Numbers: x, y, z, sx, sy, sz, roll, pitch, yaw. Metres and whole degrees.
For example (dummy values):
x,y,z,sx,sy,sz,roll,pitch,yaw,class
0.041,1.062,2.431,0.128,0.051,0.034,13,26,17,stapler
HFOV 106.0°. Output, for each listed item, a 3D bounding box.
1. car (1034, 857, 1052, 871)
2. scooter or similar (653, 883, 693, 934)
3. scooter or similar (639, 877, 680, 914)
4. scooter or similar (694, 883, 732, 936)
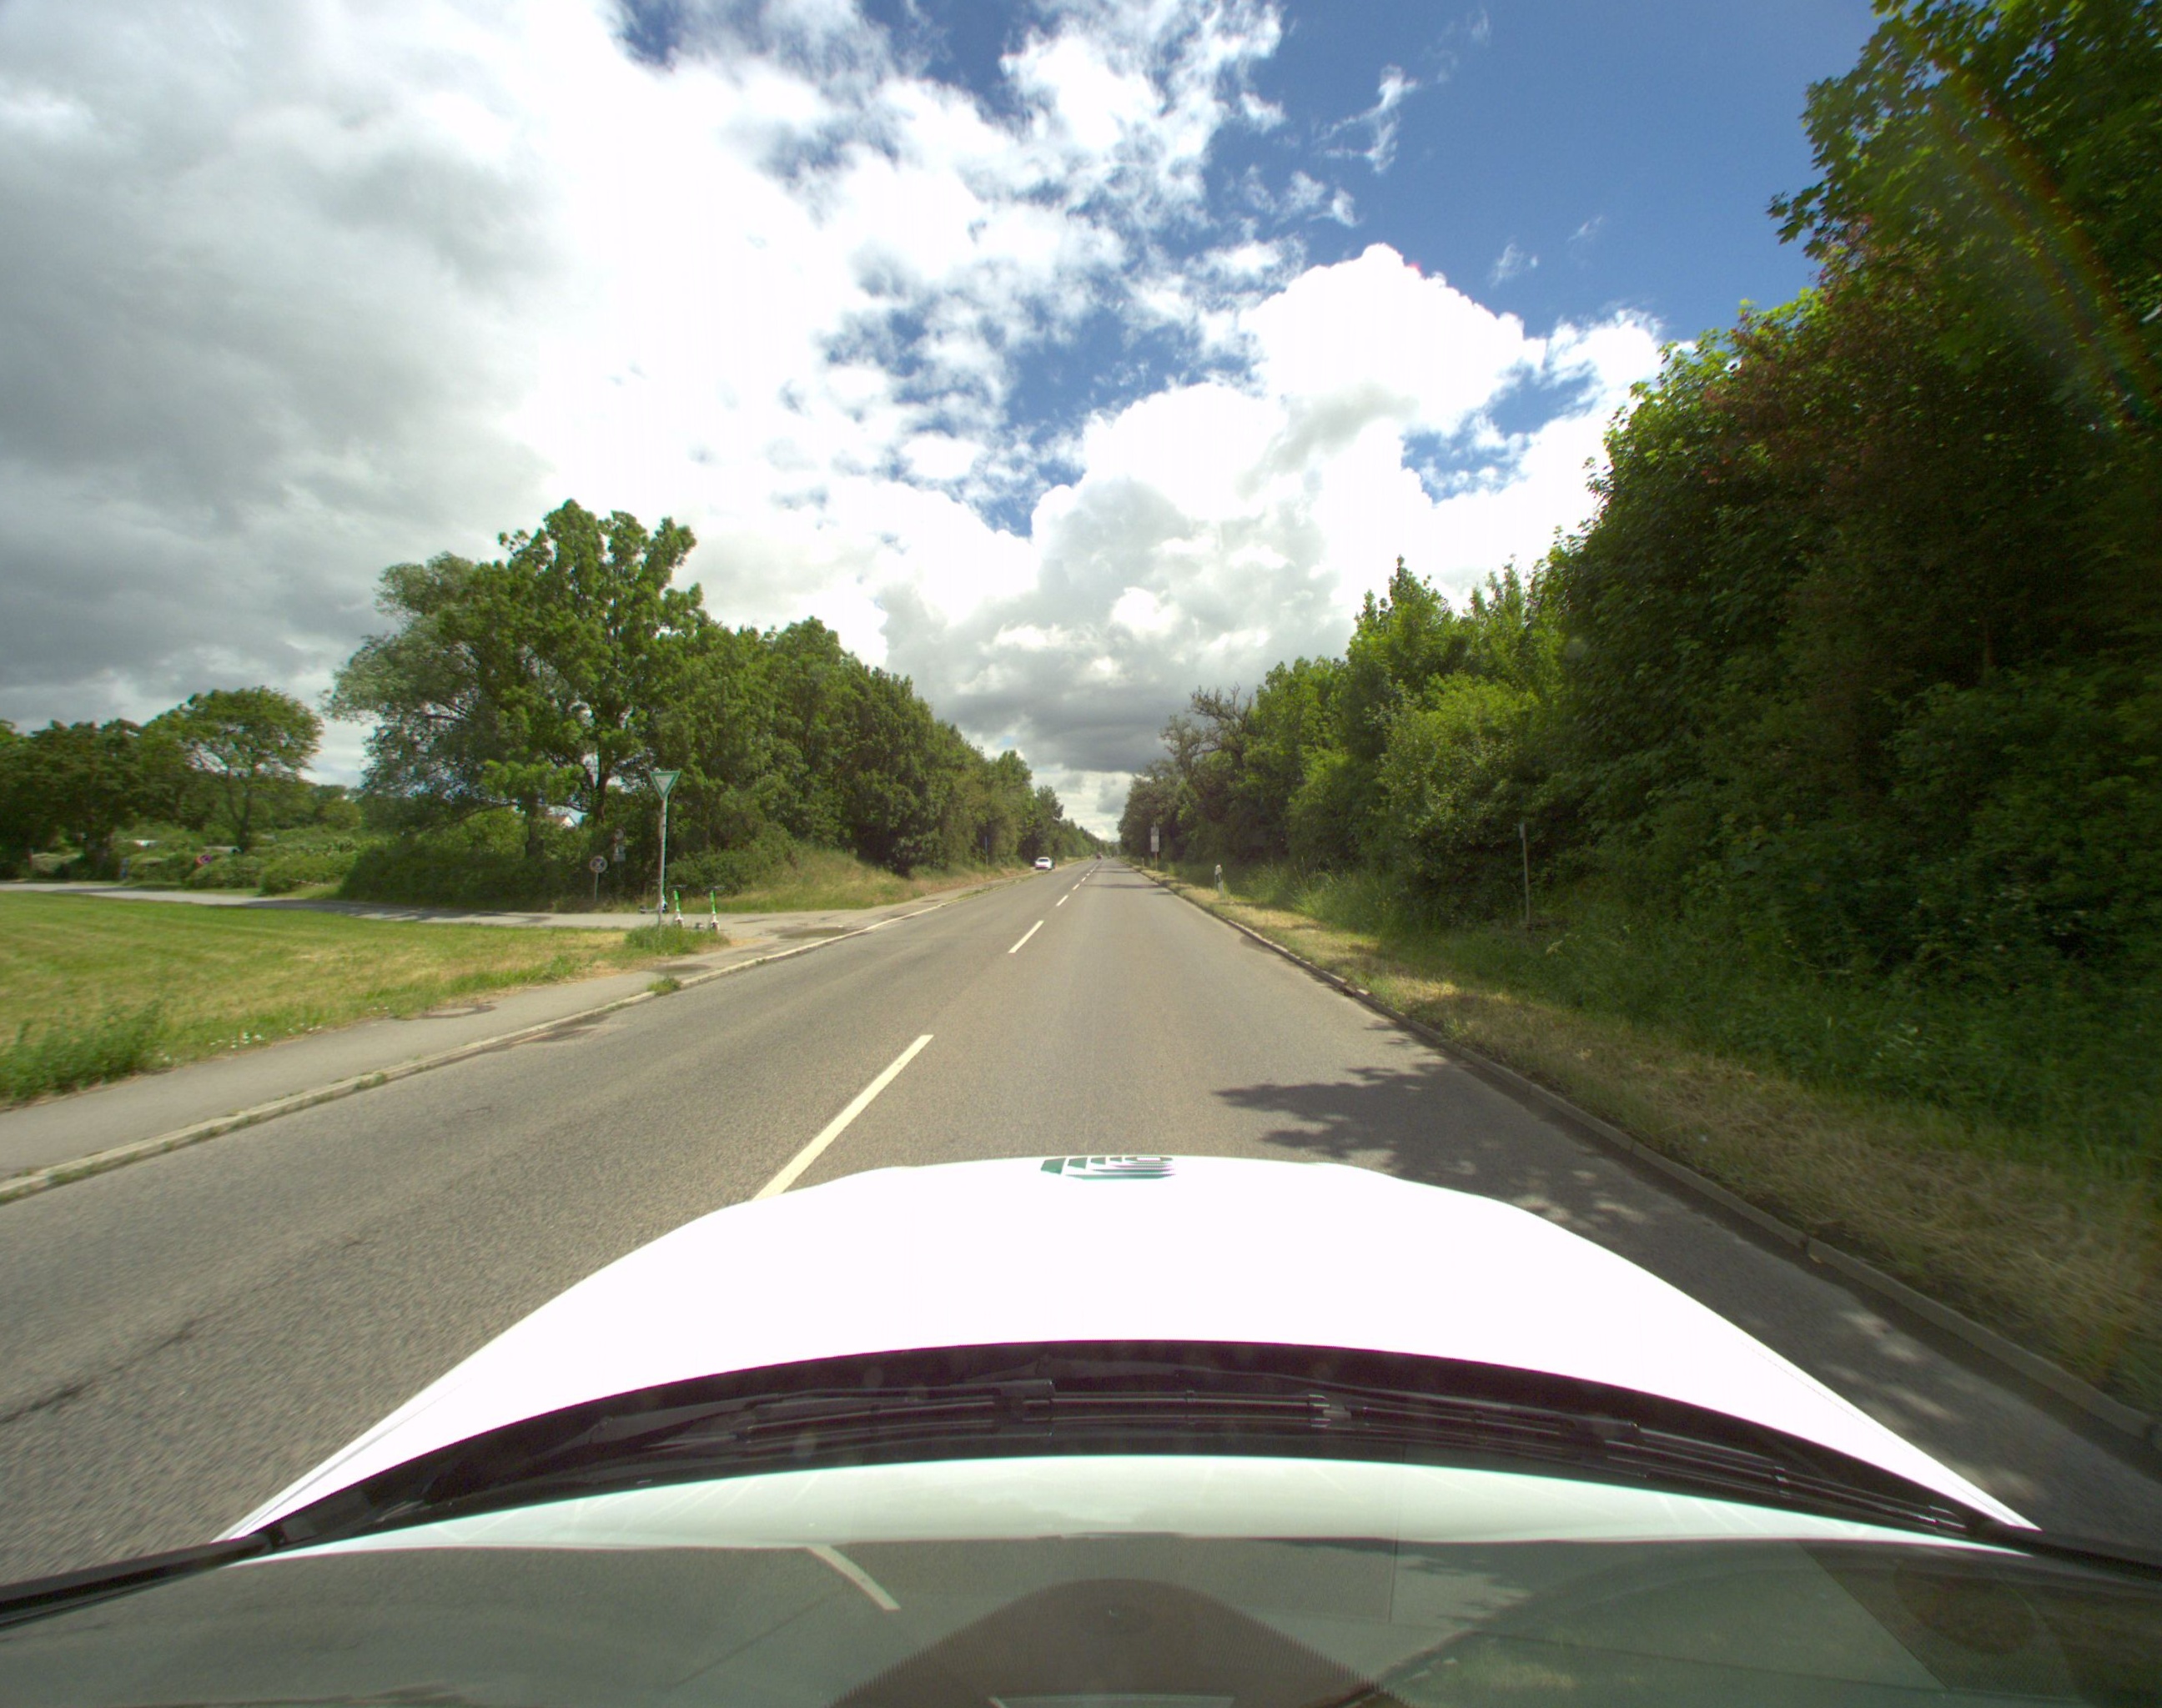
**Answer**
x,y,z,sx,sy,sz,roll,pitch,yaw,class
-4.382,1.182,94.513,1.791,1.543,3.956,-2,-1,2,car
-9.934,1.308,19.807,1.334,1.168,0.409,-1,0,42,scooter or similar
-13.958,1.376,26.964,1.234,1.168,0.408,-1,0,14,scooter or similar
-8.655,1.292,19.117,0.409,1.168,1.335,-1,0,-42,scooter or similar
